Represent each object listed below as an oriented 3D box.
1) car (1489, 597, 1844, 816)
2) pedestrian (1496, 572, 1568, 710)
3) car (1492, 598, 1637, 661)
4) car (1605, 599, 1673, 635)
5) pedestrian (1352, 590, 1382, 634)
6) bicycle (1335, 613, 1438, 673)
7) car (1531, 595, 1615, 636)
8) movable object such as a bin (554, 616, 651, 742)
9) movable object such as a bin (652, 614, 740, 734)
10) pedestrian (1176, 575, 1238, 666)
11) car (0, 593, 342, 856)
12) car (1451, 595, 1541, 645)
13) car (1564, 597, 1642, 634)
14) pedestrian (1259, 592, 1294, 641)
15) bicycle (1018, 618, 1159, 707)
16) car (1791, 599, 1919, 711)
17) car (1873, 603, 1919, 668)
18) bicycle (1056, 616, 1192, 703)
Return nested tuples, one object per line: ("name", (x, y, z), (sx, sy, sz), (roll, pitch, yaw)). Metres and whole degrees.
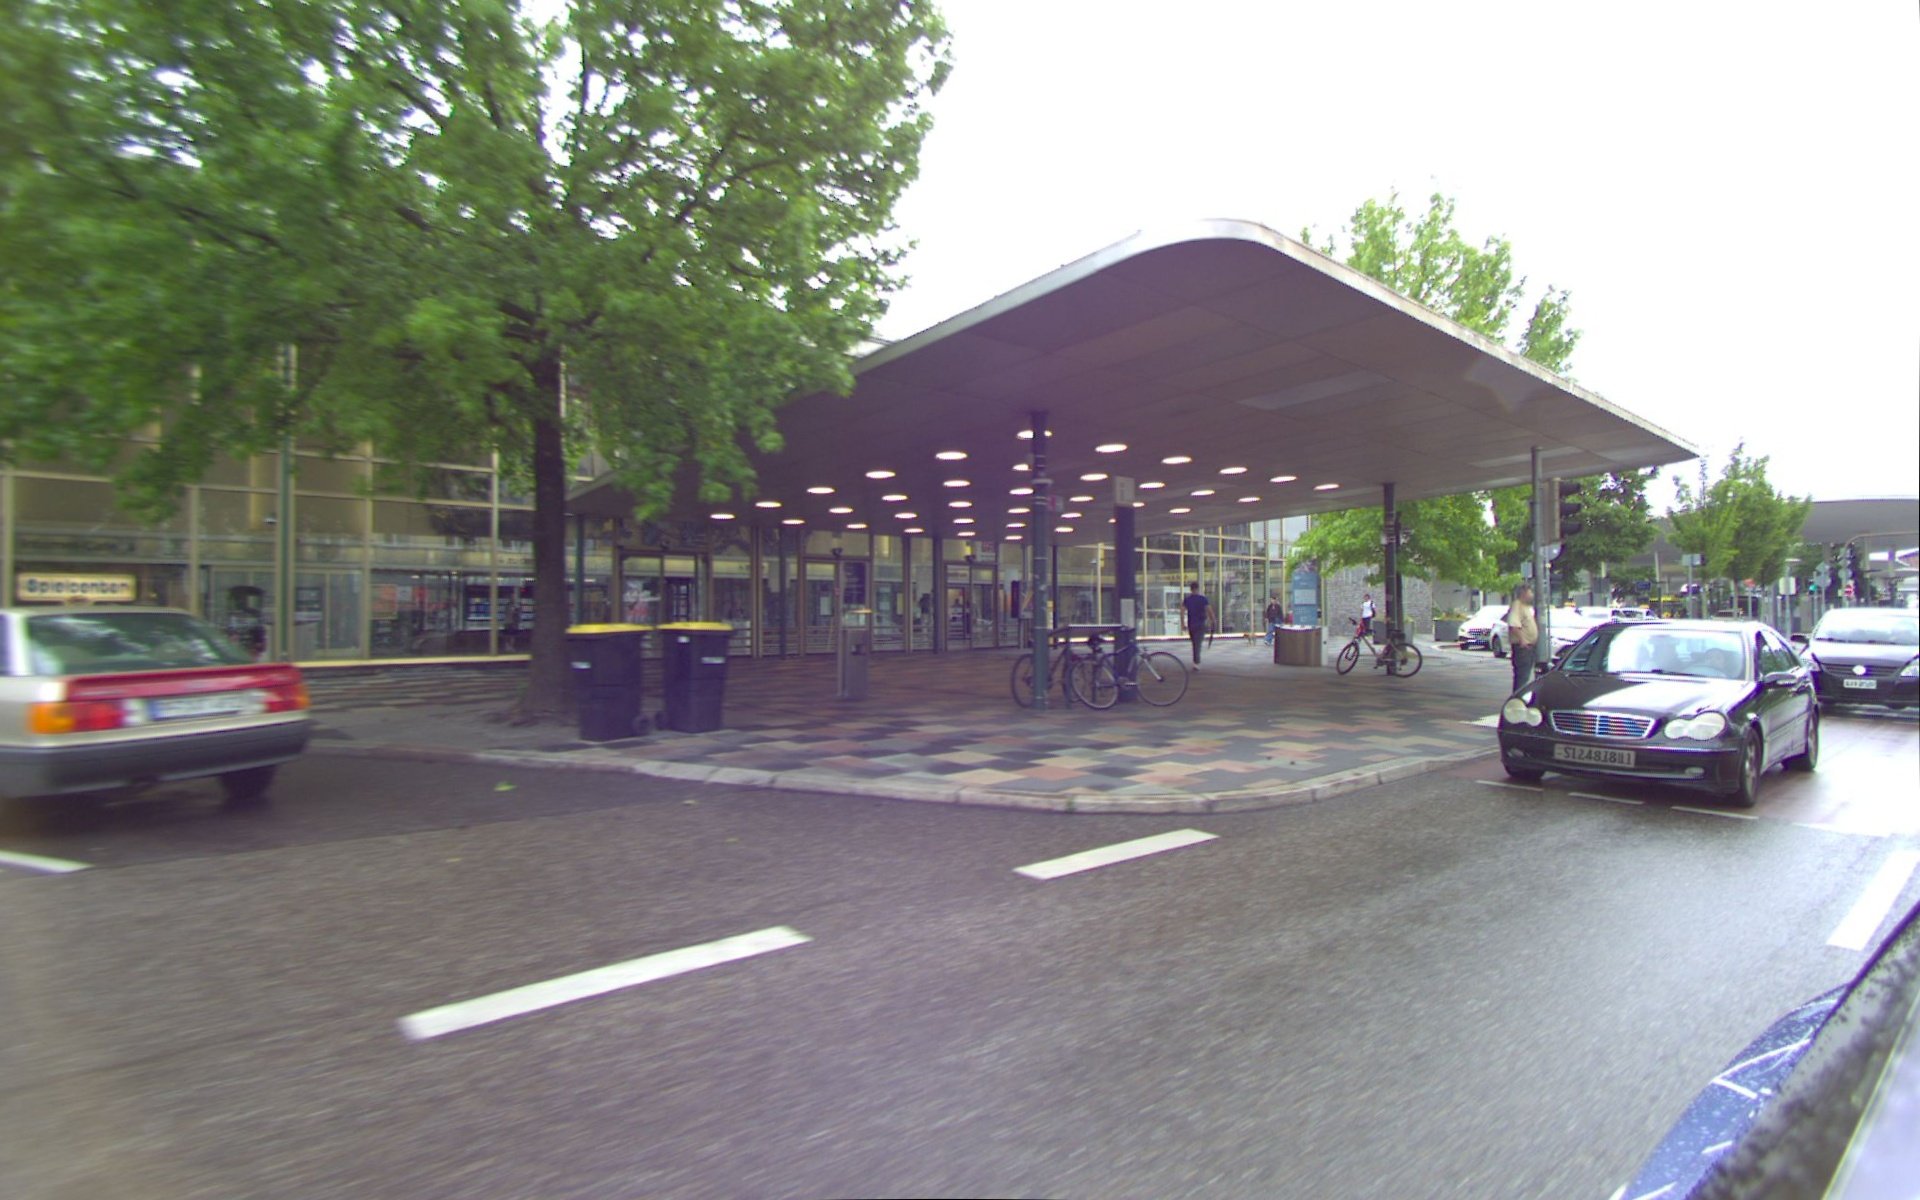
("car", (6.341, 0.728, 8.929), (3.762, 1.493, 1.869), (0, 0, -43))
("pedestrian", (7.580, 0.519, 13.412), (0.686, 1.773, 0.561), (0, 1, -35))
("car", (16.068, 0.724, 27.170), (1.790, 1.510, 4.151), (0, 0, 7))
("car", (31.593, 0.744, 47.024), (4.009, 1.610, 1.817), (0, 0, -44))
("pedestrian", (15.944, 0.455, 39.649), (0.837, 1.669, 0.762), (0, 0, -41))
("bicycle", (8.010, 0.794, 19.057), (1.712, 1.059, 0.517), (0, 0, 40))
("car", (24.206, 0.580, 39.911), (4.101, 1.510, 1.817), (0, 0, -44))
("movable object such as a bin", (-3.401, 0.719, 9.631), (0.722, 1.121, 0.593), (0, 0, 40))
("movable object such as a bin", (-2.627, 0.713, 10.085), (0.687, 1.121, 0.542), (0, 0, 36))
("pedestrian", (4.946, 0.396, 20.297), (0.895, 1.780, 0.824), (0, 0, -35))
("car", (-6.432, 0.665, 7.252), (3.896, 1.417, 1.761), (0, 0, 29))
("car", (18.113, 0.629, 34.115), (1.813, 1.575, 4.400), (0, 0, 40))
("car", (27.474, 0.615, 43.212), (4.390, 1.510, 1.817), (0, 0, -44))
("pedestrian", (10.201, 0.523, 32.639), (0.837, 1.530, 0.762), (0, 0, -41))
("bicycle", (1.592, 0.755, 12.590), (1.692, 1.059, 0.524), (0, 0, 9))
("car", (13.923, 0.735, 15.147), (3.762, 1.493, 1.869), (0, 0, -44))
("car", (23.835, 0.840, 24.922), (3.606, 1.505, 1.618), (0, 0, -41))
("bicycle", (2.124, 0.749, 13.131), (1.696, 1.059, 0.522), (0, 0, 17))
